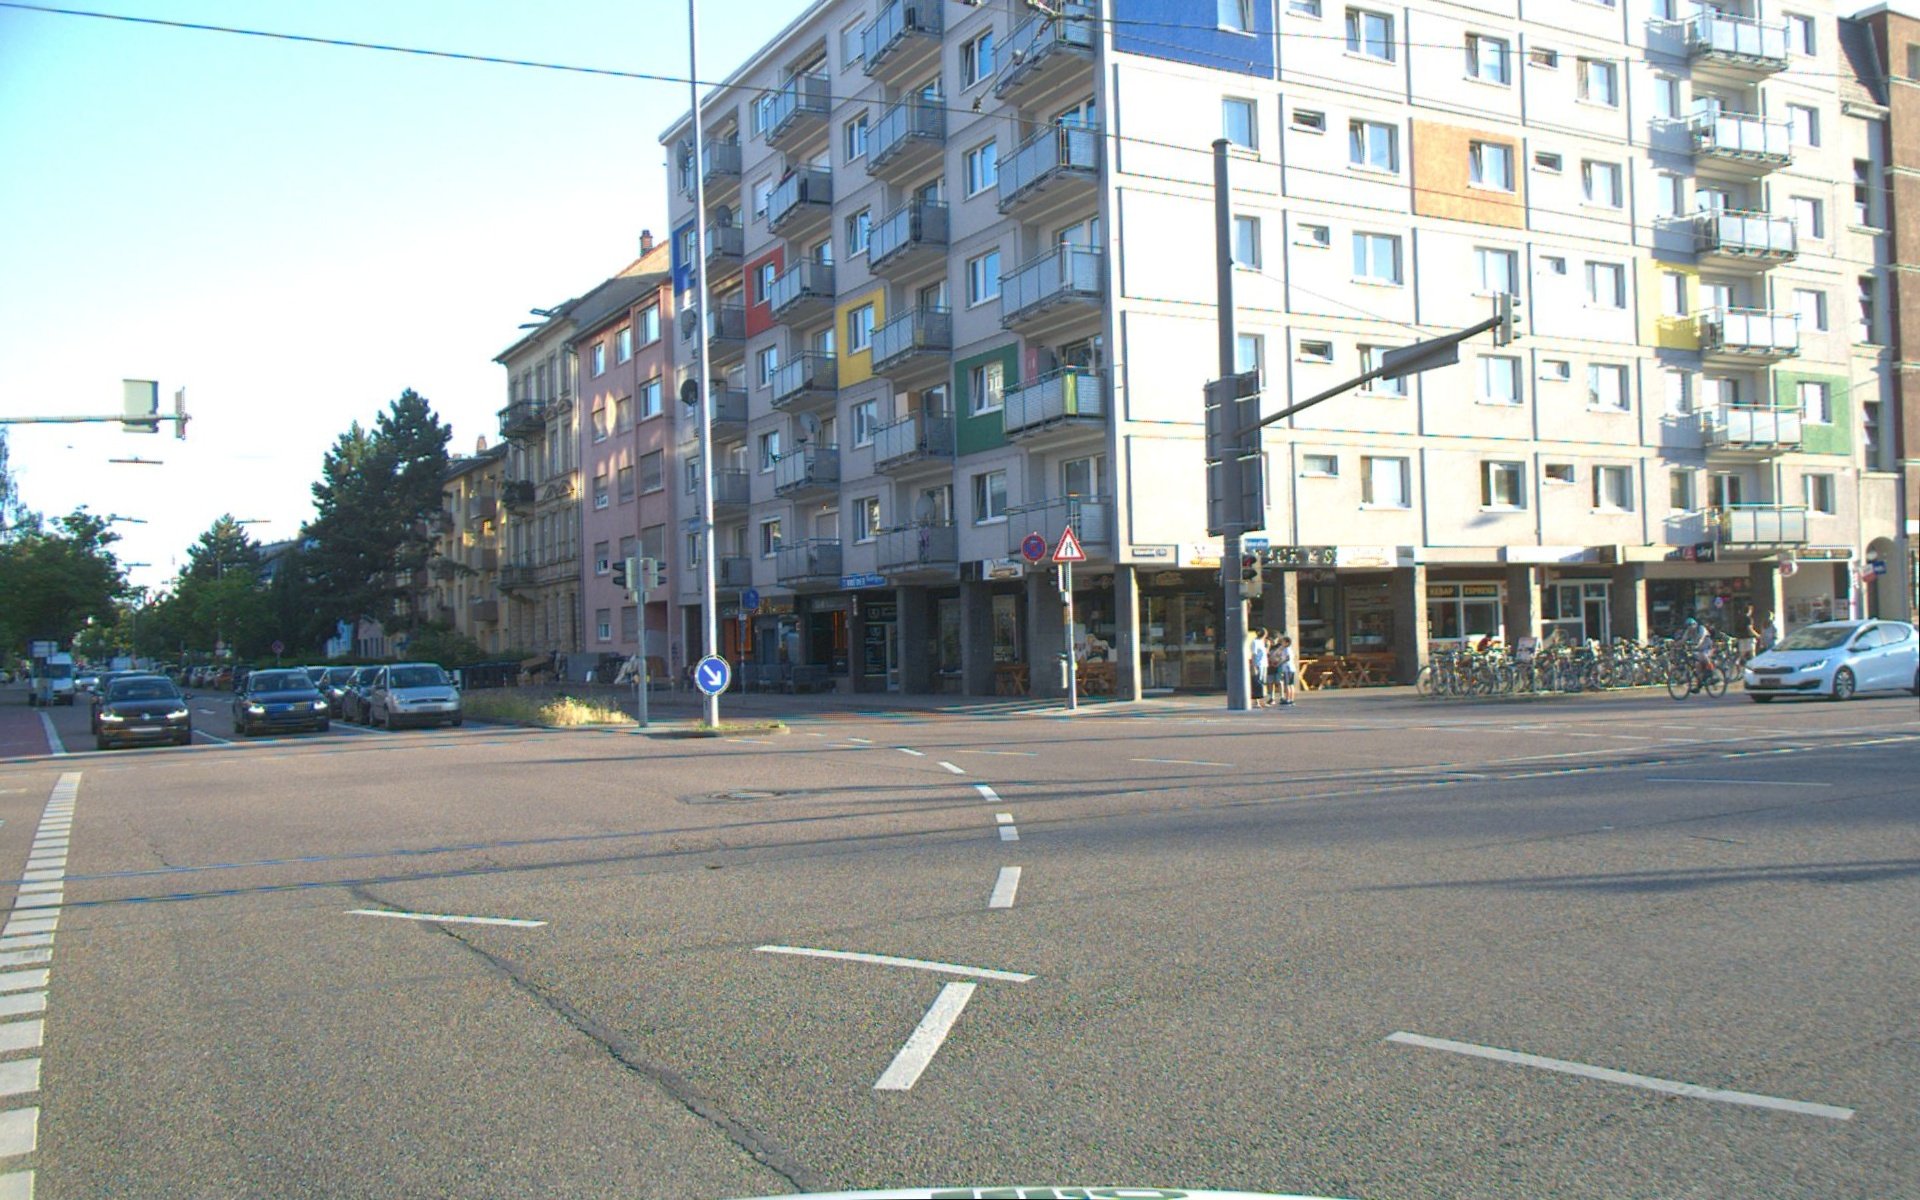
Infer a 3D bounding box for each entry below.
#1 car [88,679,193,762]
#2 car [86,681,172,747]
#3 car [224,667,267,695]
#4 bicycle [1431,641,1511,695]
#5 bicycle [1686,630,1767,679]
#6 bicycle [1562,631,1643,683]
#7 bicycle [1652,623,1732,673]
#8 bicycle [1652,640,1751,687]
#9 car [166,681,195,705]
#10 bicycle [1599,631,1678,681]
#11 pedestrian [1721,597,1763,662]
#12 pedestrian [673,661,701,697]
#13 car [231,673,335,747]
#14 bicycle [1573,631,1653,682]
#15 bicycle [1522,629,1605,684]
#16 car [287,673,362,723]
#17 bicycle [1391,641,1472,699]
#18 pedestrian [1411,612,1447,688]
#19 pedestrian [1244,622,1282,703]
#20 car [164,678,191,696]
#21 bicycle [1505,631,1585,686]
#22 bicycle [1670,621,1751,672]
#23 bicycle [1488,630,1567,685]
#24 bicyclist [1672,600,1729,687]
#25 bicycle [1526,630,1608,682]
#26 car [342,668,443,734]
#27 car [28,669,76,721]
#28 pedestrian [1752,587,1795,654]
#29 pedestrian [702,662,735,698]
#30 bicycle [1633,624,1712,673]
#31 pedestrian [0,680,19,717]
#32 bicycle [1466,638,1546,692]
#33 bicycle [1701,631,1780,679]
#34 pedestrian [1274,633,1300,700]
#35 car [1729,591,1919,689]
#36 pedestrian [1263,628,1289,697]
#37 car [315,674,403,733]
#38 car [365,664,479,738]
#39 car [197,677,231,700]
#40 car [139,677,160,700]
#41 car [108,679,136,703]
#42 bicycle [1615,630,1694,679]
[{"bbox_3d":[-17.362,2.505,35.085,1.858,1.512,3.966,-2,-1,-26],"label":"car"},{"bbox_3d":[-22.600,3.054,44.917,1.971,1.558,3.962,-2,-1,-28],"label":"car"},{"bbox_3d":[-43.411,4.922,100.464,1.972,1.544,4.179,-2,-1,-29],"label":"car"},{"bbox_3d":[11.522,1.531,37.322,0.600,1.162,1.764,-1,-1,-30],"label":"bicycle"},{"bbox_3d":[19.051,1.354,41.142,0.737,1.191,1.680,-1,-1,-28],"label":"bicycle"},{"bbox_3d":[15.057,1.345,38.817,0.597,1.179,1.764,-1,-1,-30],"label":"bicycle"},{"bbox_3d":[17.816,1.170,40.278,0.695,1.173,1.680,-1,-1,-28],"label":"bicycle"},{"bbox_3d":[15.604,1.336,34.822,1.911,0.897,0.701,-2,-1,-19],"label":"bicycle"},{"bbox_3d":[-67.315,7.997,142.827,1.972,1.866,4.179,-2,-1,-29],"label":"car"},{"bbox_3d":[16.138,1.331,39.384,0.544,1.136,1.743,-1,-1,-29],"label":"bicycle"},{"bbox_3d":[22.615,0.865,47.837,0.714,1.844,0.817,-1,-2,-41],"label":"pedestrian"},{"bbox_3d":[-9.895,2.861,59.980,0.704,1.278,0.784,-2,-2,-33],"label":"pedestrian"},{"bbox_3d":[-15.915,2.522,38.796,1.970,1.512,3.966,-2,-1,-26],"label":"car"},{"bbox_3d":[15.505,1.346,39.301,0.597,1.156,1.759,-1,-1,-29],"label":"bicycle"},{"bbox_3d":[13.868,1.304,38.041,0.643,1.212,1.776,-1,-1,-30],"label":"bicycle"},{"bbox_3d":[-21.508,3.278,55.897,1.970,1.512,3.966,-2,-1,-26],"label":"car"},{"bbox_3d":[10.567,1.562,37.119,0.629,1.229,1.781,-1,-1,-30],"label":"bicycle"},{"bbox_3d":[10.930,1.161,38.540,0.535,1.713,0.580,-2,-1,-9],"label":"pedestrian"},{"bbox_3d":[6.360,1.310,34.701,0.560,1.648,0.603,-3,-1,29],"label":"pedestrian"},{"bbox_3d":[-72.617,8.060,153.438,1.972,1.544,4.179,-2,-1,-29],"label":"car"},{"bbox_3d":[13.323,1.336,37.696,0.560,1.202,1.757,-1,-1,-30],"label":"bicycle"},{"bbox_3d":[18.436,1.147,40.660,0.737,1.199,1.680,-1,-1,-28],"label":"bicycle"},{"bbox_3d":[12.823,1.298,37.401,0.533,1.188,1.754,-1,-1,-29],"label":"bicycle"},{"bbox_3d":[15.577,0.915,34.812,0.777,1.773,0.700,-2,-1,-19],"label":"bicyclist"},{"bbox_3d":[14.261,1.314,38.890,0.631,1.181,1.818,-1,-1,-30],"label":"bicycle"},{"bbox_3d":[-14.738,2.562,42.840,1.970,1.512,3.966,-2,-1,-26],"label":"car"},{"bbox_3d":[-44.392,4.609,80.867,1.972,2.365,4.179,-2,-1,-29],"label":"car"},{"bbox_3d":[23.197,0.586,47.173,0.727,1.874,0.778,-1,-2,-39],"label":"pedestrian"},{"bbox_3d":[-8.483,2.803,57.990,0.851,1.190,0.782,-1,-1,-35],"label":"pedestrian"},{"bbox_3d":[17.198,1.184,39.975,0.625,1.144,1.716,-1,-2,-28],"label":"bicycle"},{"bbox_3d":[-53.854,5.551,93.433,1.018,2.049,0.930,-1,-2,-43],"label":"pedestrian"},{"bbox_3d":[12.284,1.466,37.236,0.591,1.159,1.745,-1,-1,-29],"label":"bicycle"},{"bbox_3d":[19.621,1.389,41.610,0.686,1.164,1.680,-1,-1,-28],"label":"bicycle"},{"bbox_3d":[6.962,1.409,35.171,0.374,1.407,0.394,-3,-1,32],"label":"pedestrian"},{"bbox_3d":[16.487,0.730,31.080,3.944,1.646,1.678,-2,-1,-30],"label":"car"},{"bbox_3d":[6.866,1.364,35.924,0.370,1.474,0.394,-3,-1,32],"label":"pedestrian"},{"bbox_3d":[-17.501,2.969,48.055,1.970,1.512,3.966,-2,-1,-26],"label":"car"},{"bbox_3d":[-12.550,2.290,38.427,1.970,1.512,3.966,-2,-1,-26],"label":"car"},{"bbox_3d":[-54.932,6.468,121.748,1.972,1.544,4.179,-2,-1,-29],"label":"car"},{"bbox_3d":[-92.788,10.140,189.418,1.971,2.418,3.962,-2,-1,-28],"label":"car"},{"bbox_3d":[-92.448,10.038,182.488,2.588,2.418,5.205,-2,-1,-28],"label":"car"},{"bbox_3d":[16.646,1.313,39.661,0.560,1.139,1.749,-1,-1,-29],"label":"bicycle"}]
